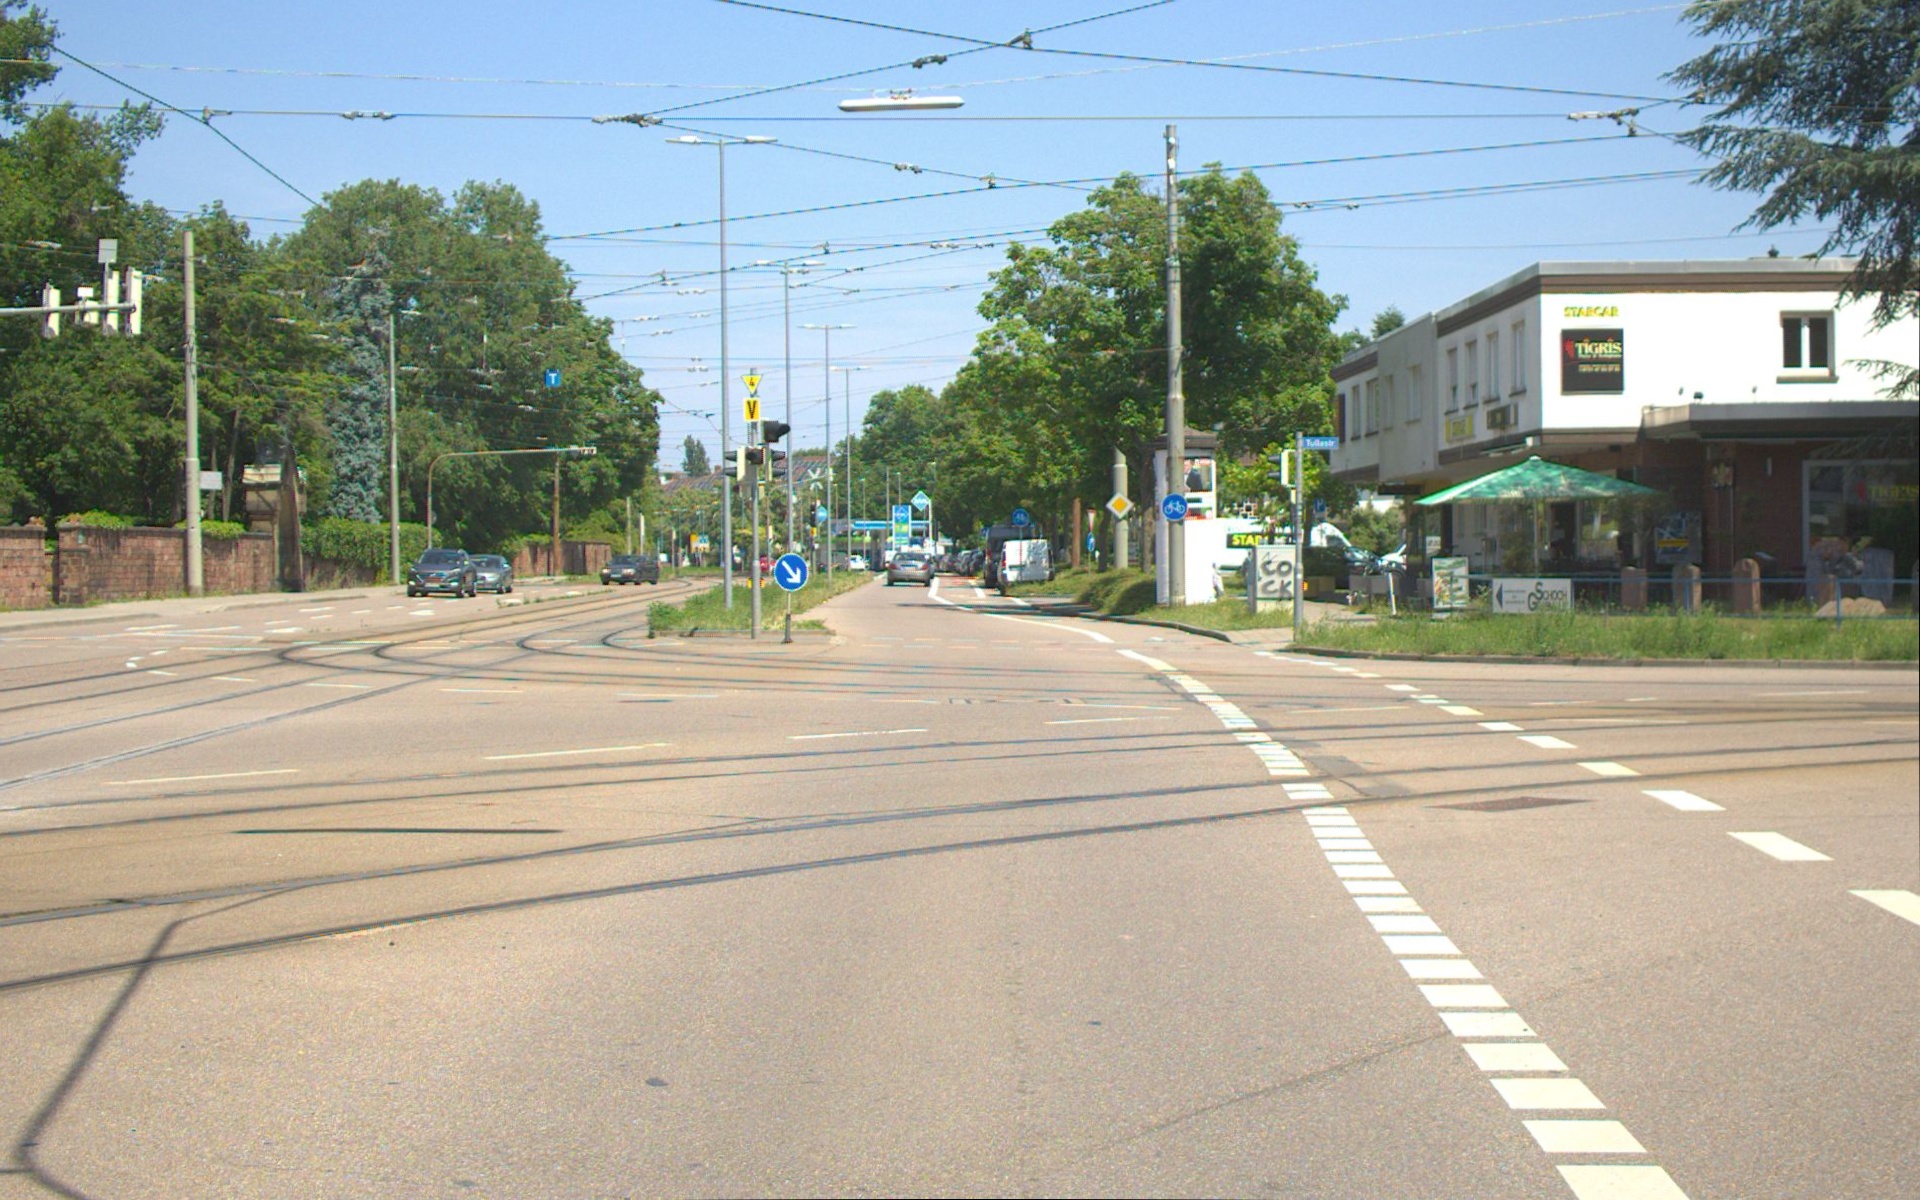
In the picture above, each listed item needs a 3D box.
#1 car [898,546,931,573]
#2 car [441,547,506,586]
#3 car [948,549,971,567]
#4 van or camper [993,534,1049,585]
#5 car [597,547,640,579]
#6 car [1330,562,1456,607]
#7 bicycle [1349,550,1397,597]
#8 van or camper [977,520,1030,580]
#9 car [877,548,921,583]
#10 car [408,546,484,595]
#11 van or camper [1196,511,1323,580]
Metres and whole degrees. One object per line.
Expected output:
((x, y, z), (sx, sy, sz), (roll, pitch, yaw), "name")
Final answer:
((-2.470, -2.217, 186.593), (1.670, 1.430, 3.475), (0, 1, -3), "car")
((-17.943, -1.241, 126.956), (1.641, 1.416, 4.167), (0, 1, 2), "car")
((-0.054, -3.132, 257.317), (1.523, 1.292, 3.493), (0, 1, -3), "car")
((2.136, -1.459, 122.078), (1.922, 1.766, 4.000), (0, 1, 0), "van or camper")
((-15.734, -1.718, 158.425), (1.641, 1.395, 4.116), (1, 1, -1), "car")
((13.363, -0.482, 106.148), (3.606, 1.346, 1.491), (0, 1, -6), "car")
((9.146, -0.593, 76.209), (1.034, 1.011, 2.636), (0, 1, 7), "bicycle")
((1.805, -2.110, 144.553), (1.993, 2.456, 4.001), (0, 1, -3), "van or camper")
((-2.536, -1.434, 142.530), (1.636, 1.346, 3.842), (-3, 1, -3), "car")
((-17.336, -1.000, 116.120), (1.820, 1.598, 4.520), (0, 1, 1), "car")
((11.753, -2.137, 135.161), (4.756, 2.662, 2.136), (0, 1, -2), "van or camper")
